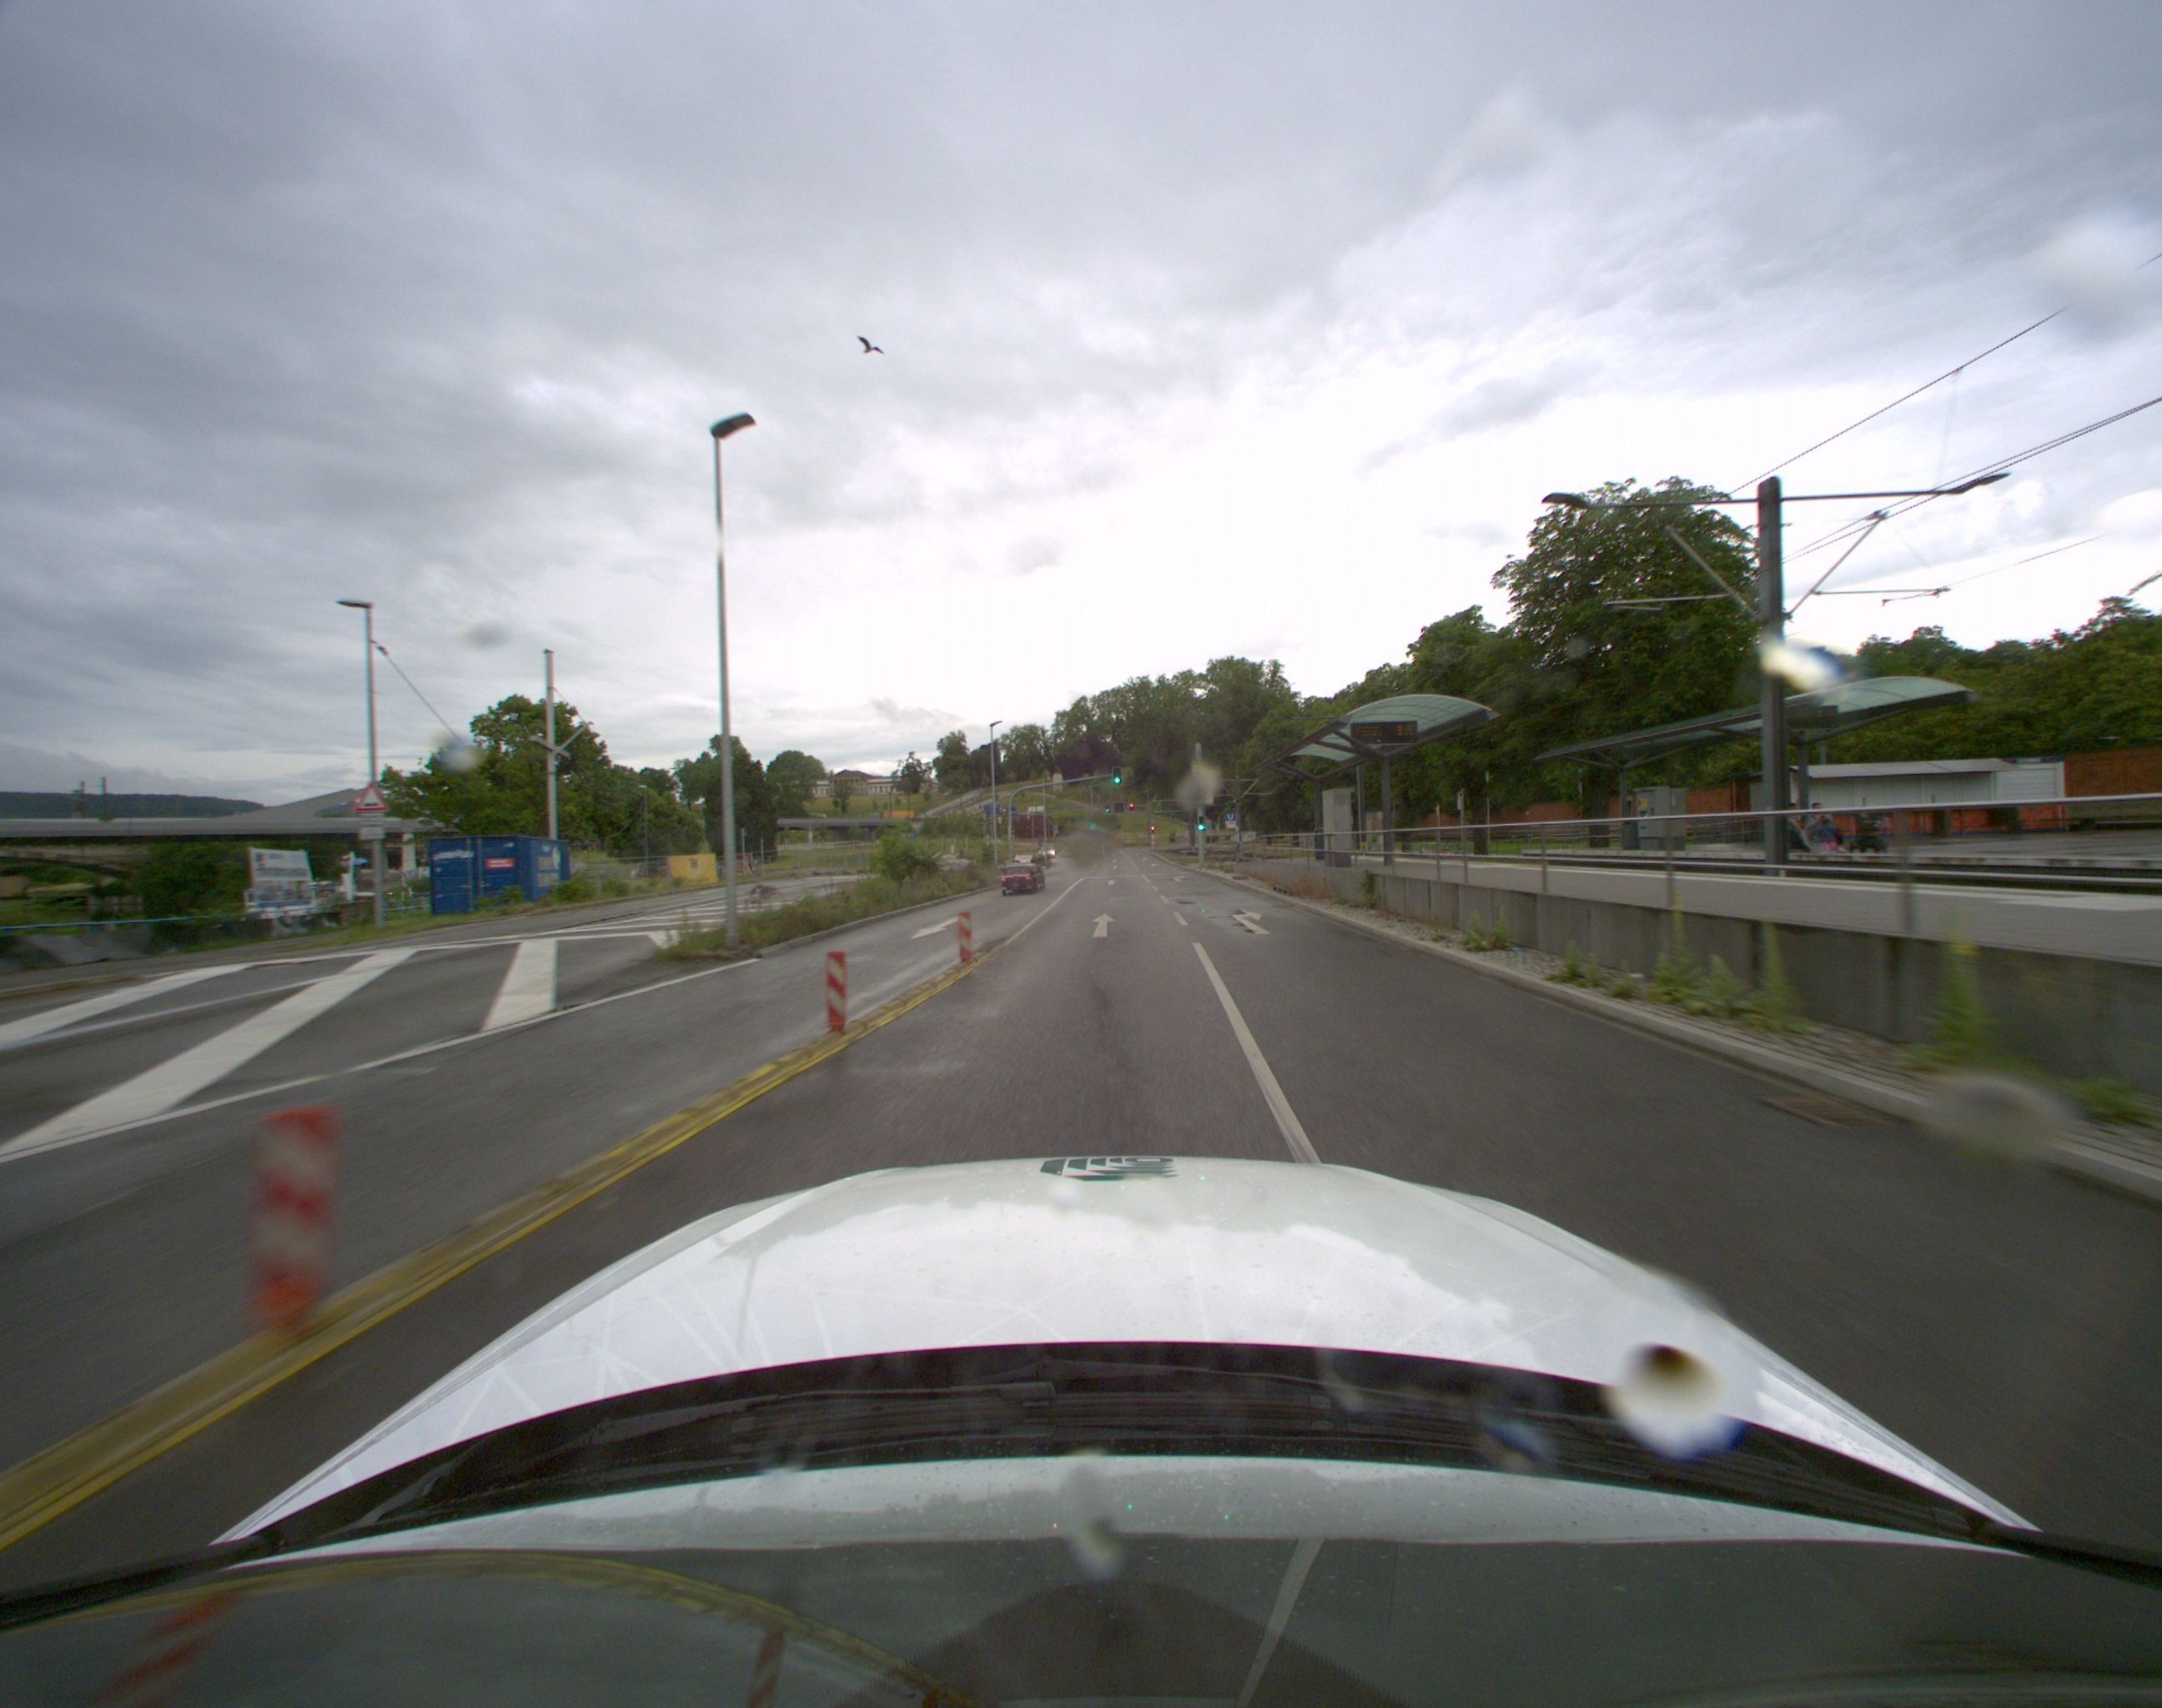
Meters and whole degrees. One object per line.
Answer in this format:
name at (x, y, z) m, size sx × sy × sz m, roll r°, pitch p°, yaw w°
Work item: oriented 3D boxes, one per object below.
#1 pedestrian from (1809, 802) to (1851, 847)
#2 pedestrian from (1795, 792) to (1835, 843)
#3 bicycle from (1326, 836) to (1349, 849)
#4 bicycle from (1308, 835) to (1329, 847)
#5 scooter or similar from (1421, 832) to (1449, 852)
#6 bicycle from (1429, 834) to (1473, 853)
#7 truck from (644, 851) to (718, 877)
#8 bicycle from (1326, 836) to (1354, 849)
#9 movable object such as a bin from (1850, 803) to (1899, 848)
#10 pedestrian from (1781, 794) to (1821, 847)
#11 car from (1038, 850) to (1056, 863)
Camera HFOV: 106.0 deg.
pedestrian at (17.611, -0.689, 19.149) m, size 0.435 × 1.008 × 0.552 m, roll -4°, pitch 1°, yaw 3°
pedestrian at (18.145, -0.893, 20.131) m, size 0.435 × 1.226 × 0.552 m, roll -4°, pitch 1°, yaw 3°
bicycle at (23.177, -1.085, 73.589) m, size 1.804 × 1.031 × 0.653 m, roll -4°, pitch 2°, yaw 0°
bicycle at (23.222, -1.282, 79.762) m, size 1.804 × 1.031 × 0.653 m, roll -4°, pitch 2°, yaw 0°
scooter or similar at (22.377, -0.735, 51.454) m, size 1.538 × 1.136 × 0.431 m, roll -4°, pitch 1°, yaw 1°
bicycle at (21.762, -0.633, 47.910) m, size 2.313 × 0.957 × 0.570 m, roll -4°, pitch 1°, yaw 1°
truck at (-50.842, 1.229, 103.672) m, size 7.998 × 2.802 × 2.397 m, roll -5°, pitch 2°, yaw -36°
bicycle at (23.109, -1.052, 72.714) m, size 2.215 × 1.031 × 0.689 m, roll -4°, pitch 2°, yaw 0°
movable object such as a bin at (18.489, -0.661, 18.980) m, size 0.435 × 1.008 × 0.682 m, roll -4°, pitch 1°, yaw 3°
pedestrian at (17.585, -0.815, 19.905) m, size 0.435 × 1.226 × 0.552 m, roll -4°, pitch 1°, yaw 3°
car at (-4.449, 0.358, 106.945) m, size 1.589 × 1.491 × 3.697 m, roll -5°, pitch 1°, yaw -13°
